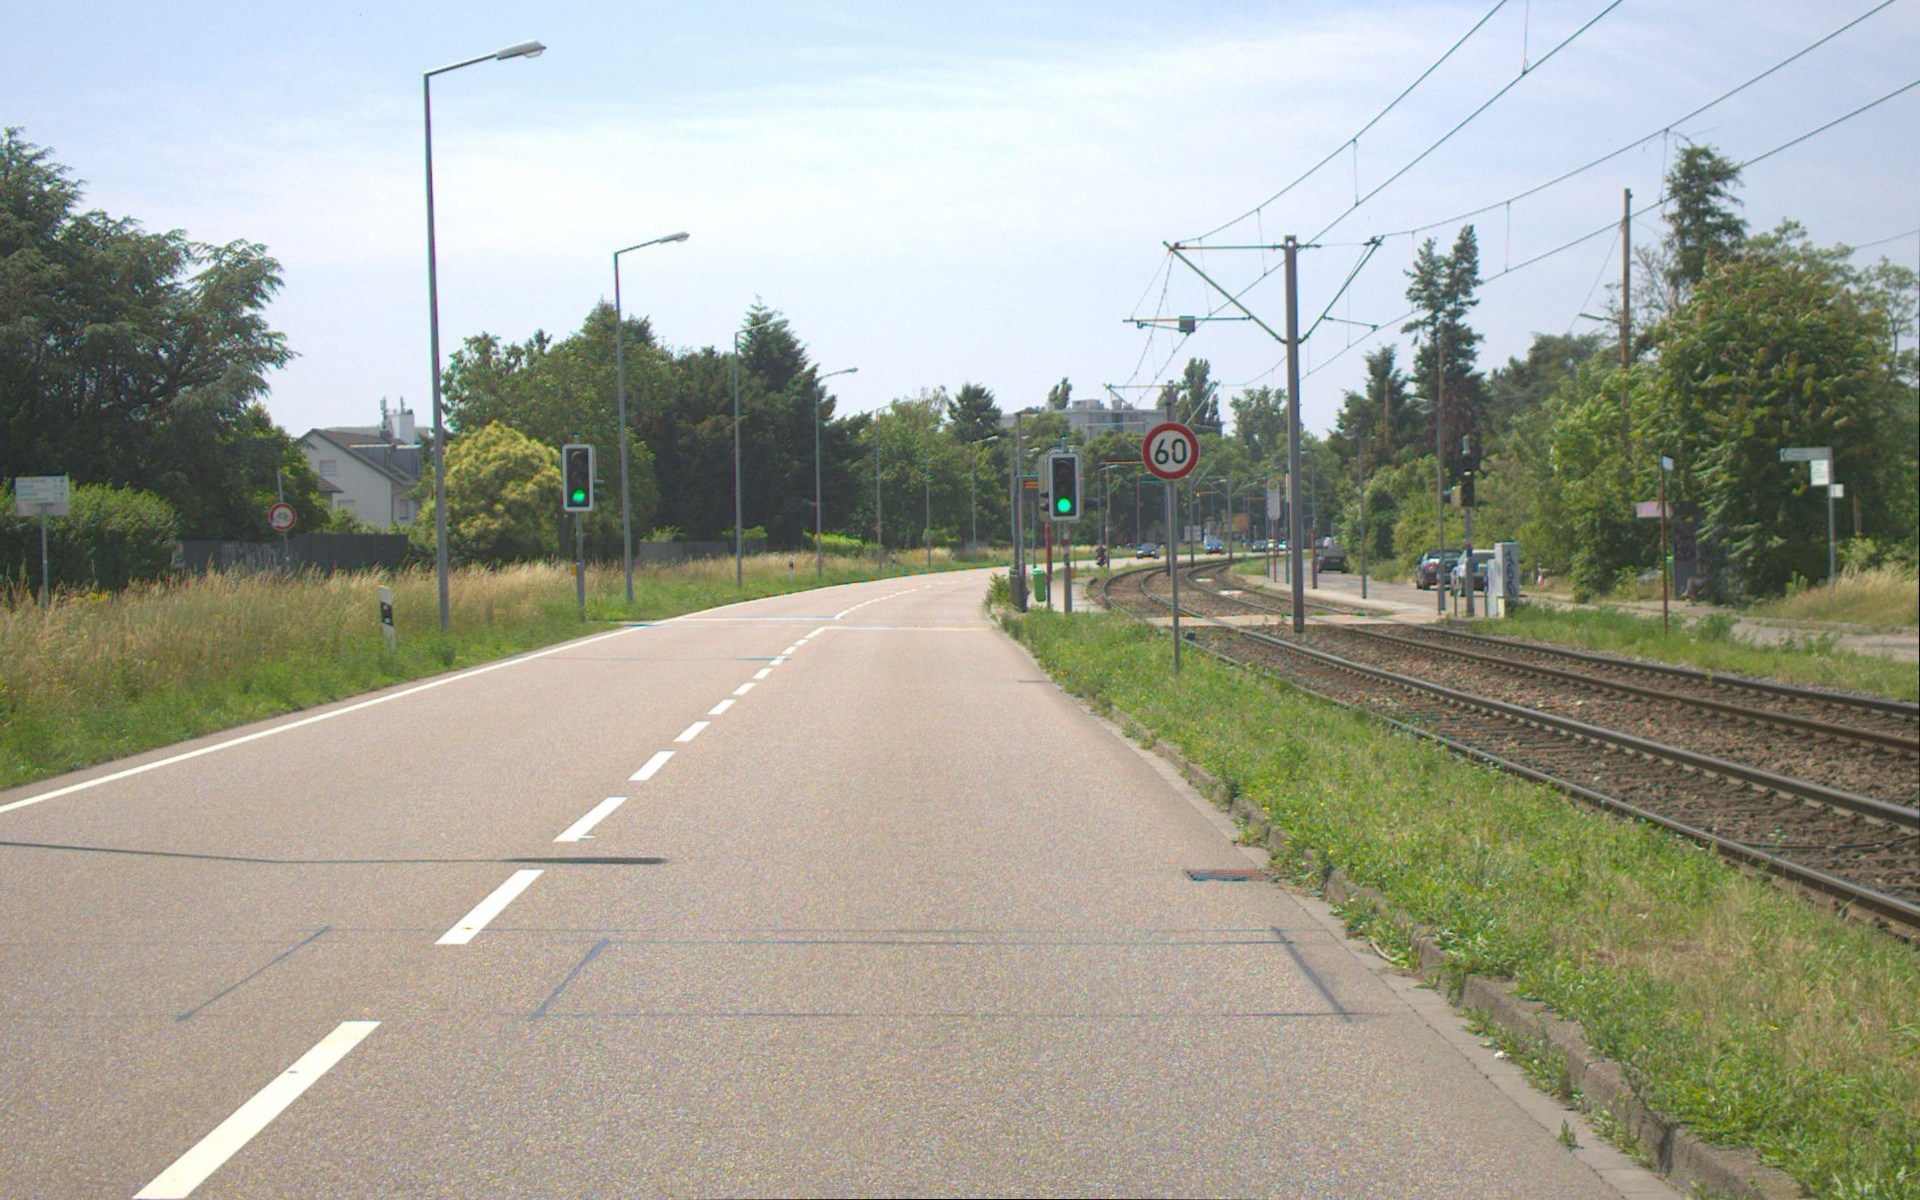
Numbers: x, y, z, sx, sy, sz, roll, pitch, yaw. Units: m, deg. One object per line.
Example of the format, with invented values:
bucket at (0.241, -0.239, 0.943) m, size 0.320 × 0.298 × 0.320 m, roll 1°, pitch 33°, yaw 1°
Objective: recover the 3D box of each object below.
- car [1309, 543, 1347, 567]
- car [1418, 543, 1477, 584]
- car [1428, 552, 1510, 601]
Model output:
car at (20.556, -2.514, 192.026) m, size 1.861 × 1.325 × 4.515 m, roll 0°, pitch 1°, yaw 3°
car at (17.386, -1.317, 122.802) m, size 1.620 × 1.417 × 4.873 m, roll 0°, pitch 1°, yaw 2°
car at (15.140, -0.726, 102.487) m, size 1.939 × 1.417 × 4.000 m, roll 0°, pitch 1°, yaw 2°
